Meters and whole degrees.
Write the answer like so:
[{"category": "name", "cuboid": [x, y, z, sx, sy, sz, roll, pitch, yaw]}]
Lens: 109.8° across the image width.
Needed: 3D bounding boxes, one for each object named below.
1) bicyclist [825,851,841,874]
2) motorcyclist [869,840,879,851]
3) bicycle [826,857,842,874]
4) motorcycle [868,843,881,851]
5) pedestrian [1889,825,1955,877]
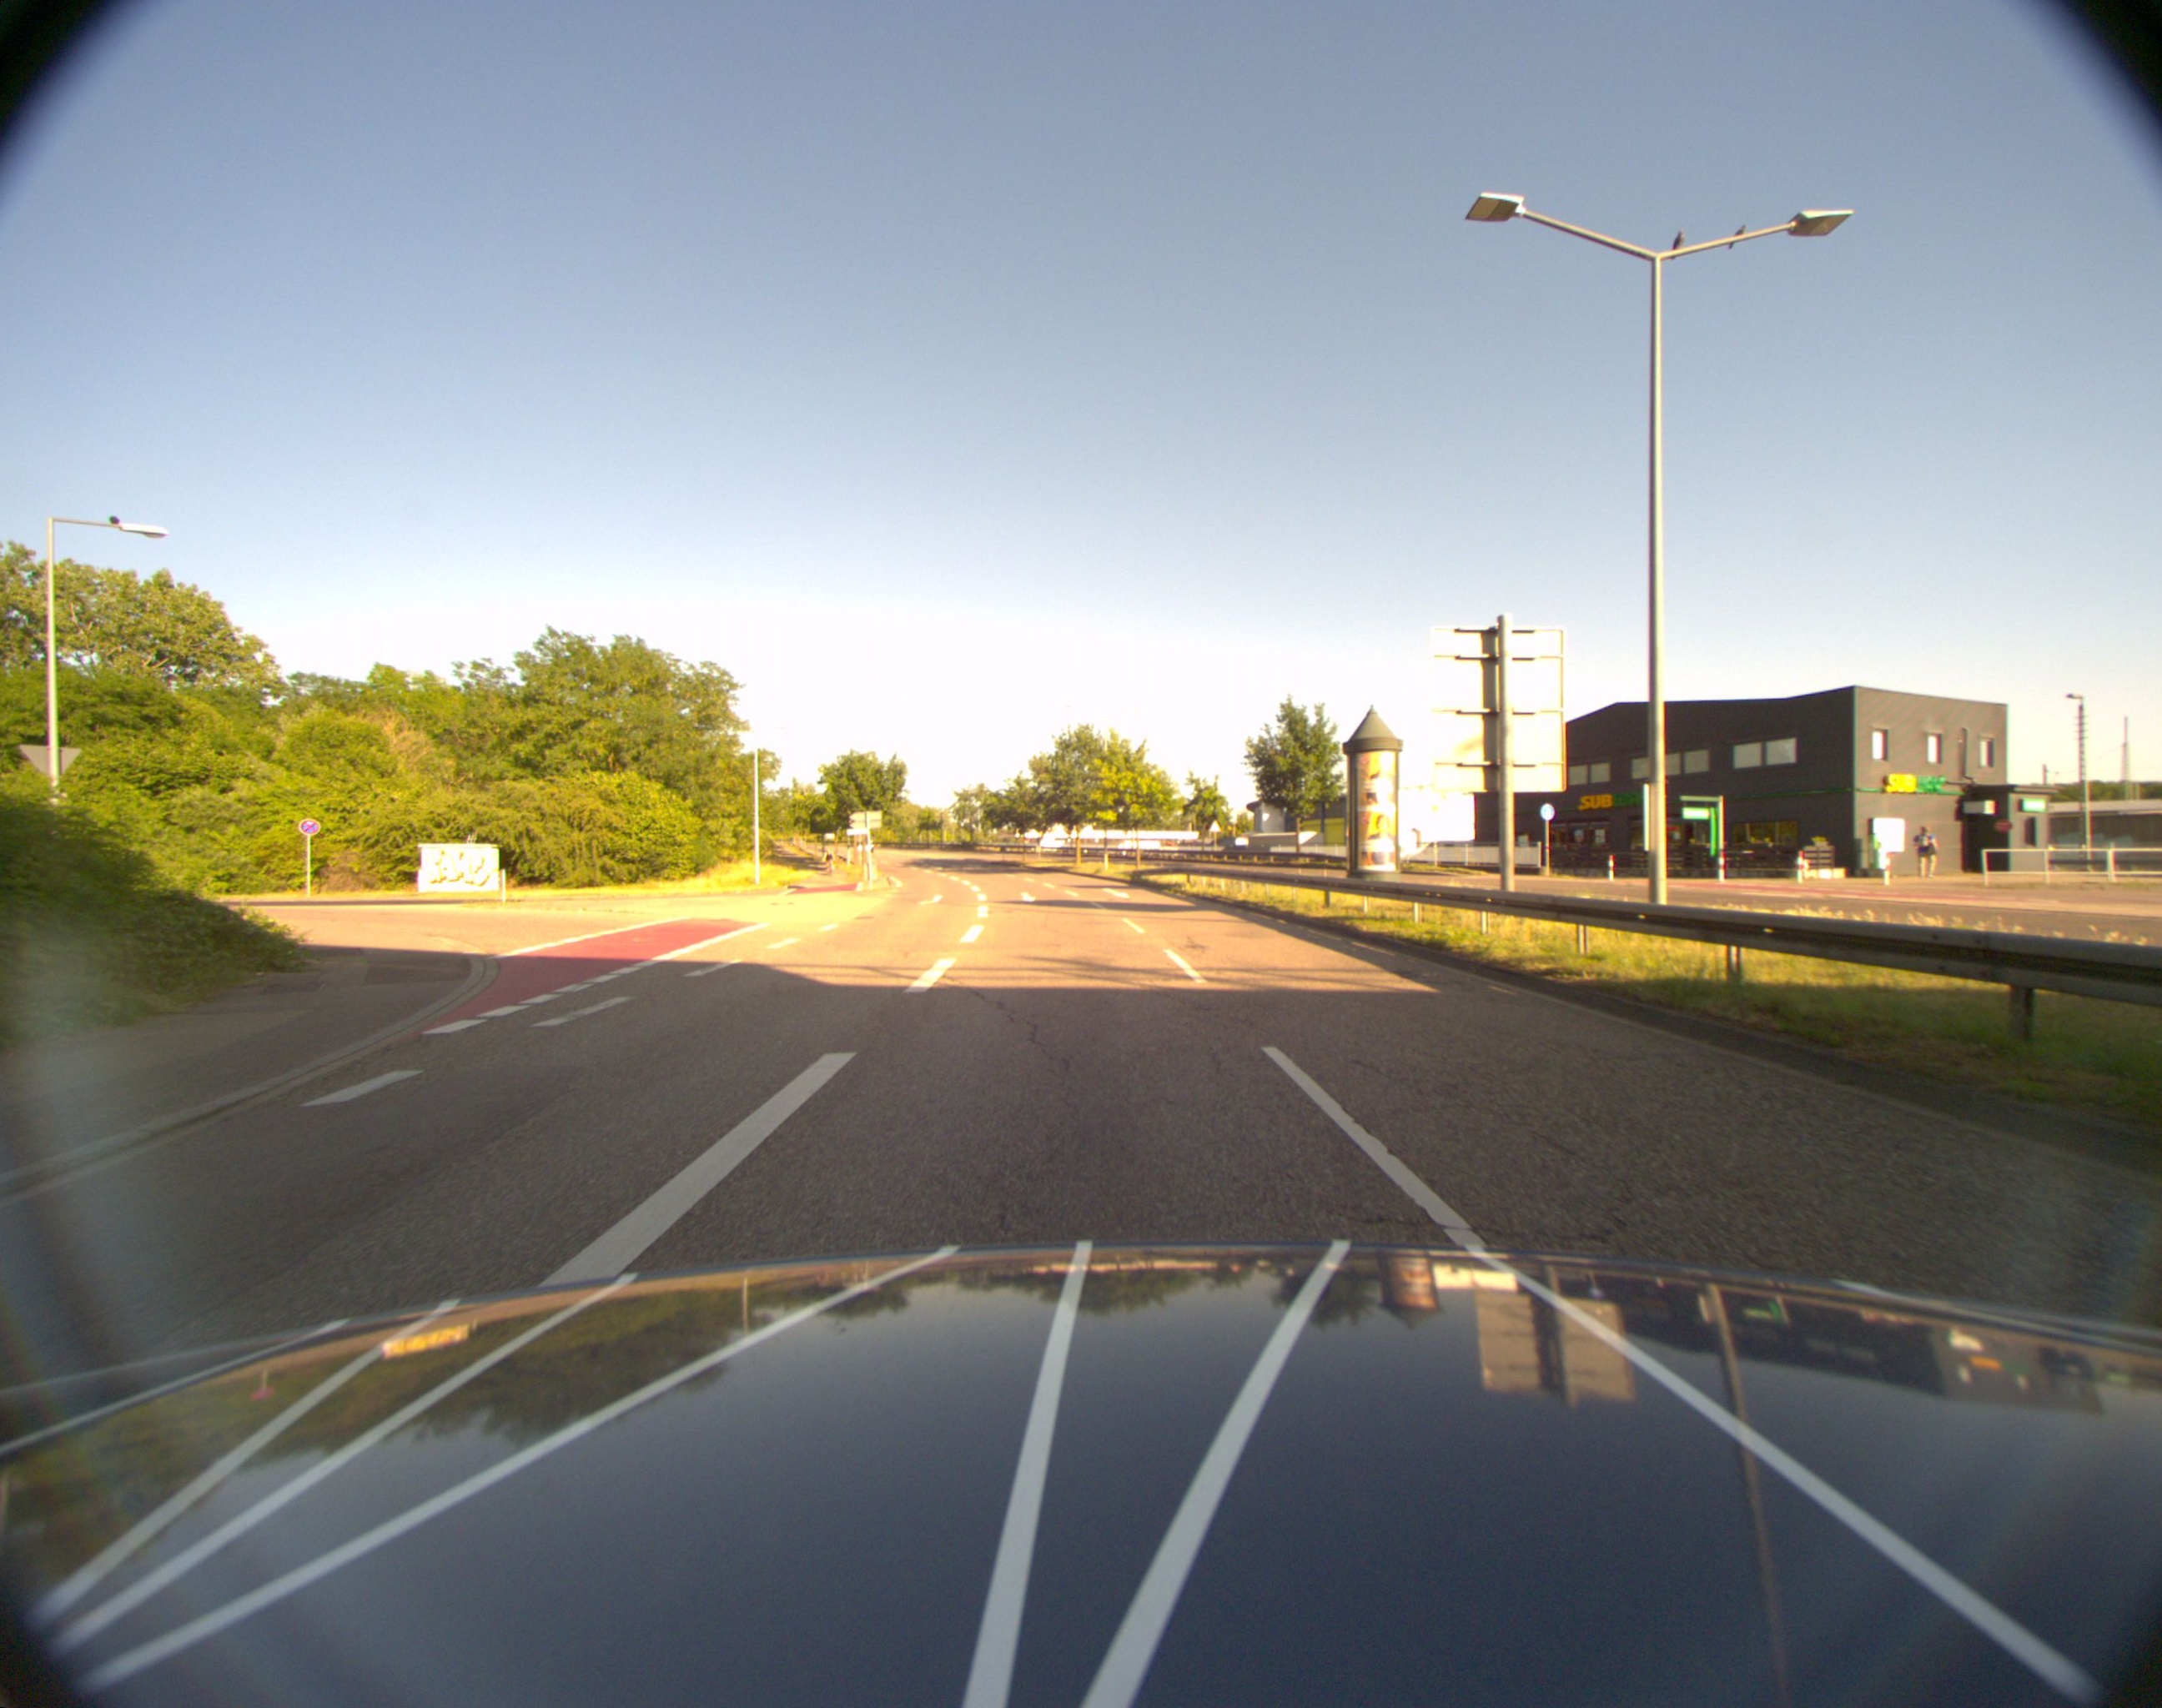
[{"category": "bicyclist", "cuboid": [-16.101, 0.564, 49.309, 0.844, 1.413, 1.112, -3, 1, -21]}, {"category": "motorcyclist", "cuboid": [-26.409, -1.086, 97.048, 0.839, 1.433, 0.878, -2, 1, 7]}, {"category": "bicycle", "cuboid": [-16.076, 0.740, 49.331, 0.783, 1.051, 2.492, -3, 1, -22]}, {"category": "motorcycle", "cuboid": [-26.382, -0.873, 97.111, 0.810, 1.040, 2.354, -2, 1, 7]}, {"category": "pedestrian", "cuboid": [30.677, -0.124, 27.726, 1.086, 1.825, 1.274, -3, 1, -17]}]
